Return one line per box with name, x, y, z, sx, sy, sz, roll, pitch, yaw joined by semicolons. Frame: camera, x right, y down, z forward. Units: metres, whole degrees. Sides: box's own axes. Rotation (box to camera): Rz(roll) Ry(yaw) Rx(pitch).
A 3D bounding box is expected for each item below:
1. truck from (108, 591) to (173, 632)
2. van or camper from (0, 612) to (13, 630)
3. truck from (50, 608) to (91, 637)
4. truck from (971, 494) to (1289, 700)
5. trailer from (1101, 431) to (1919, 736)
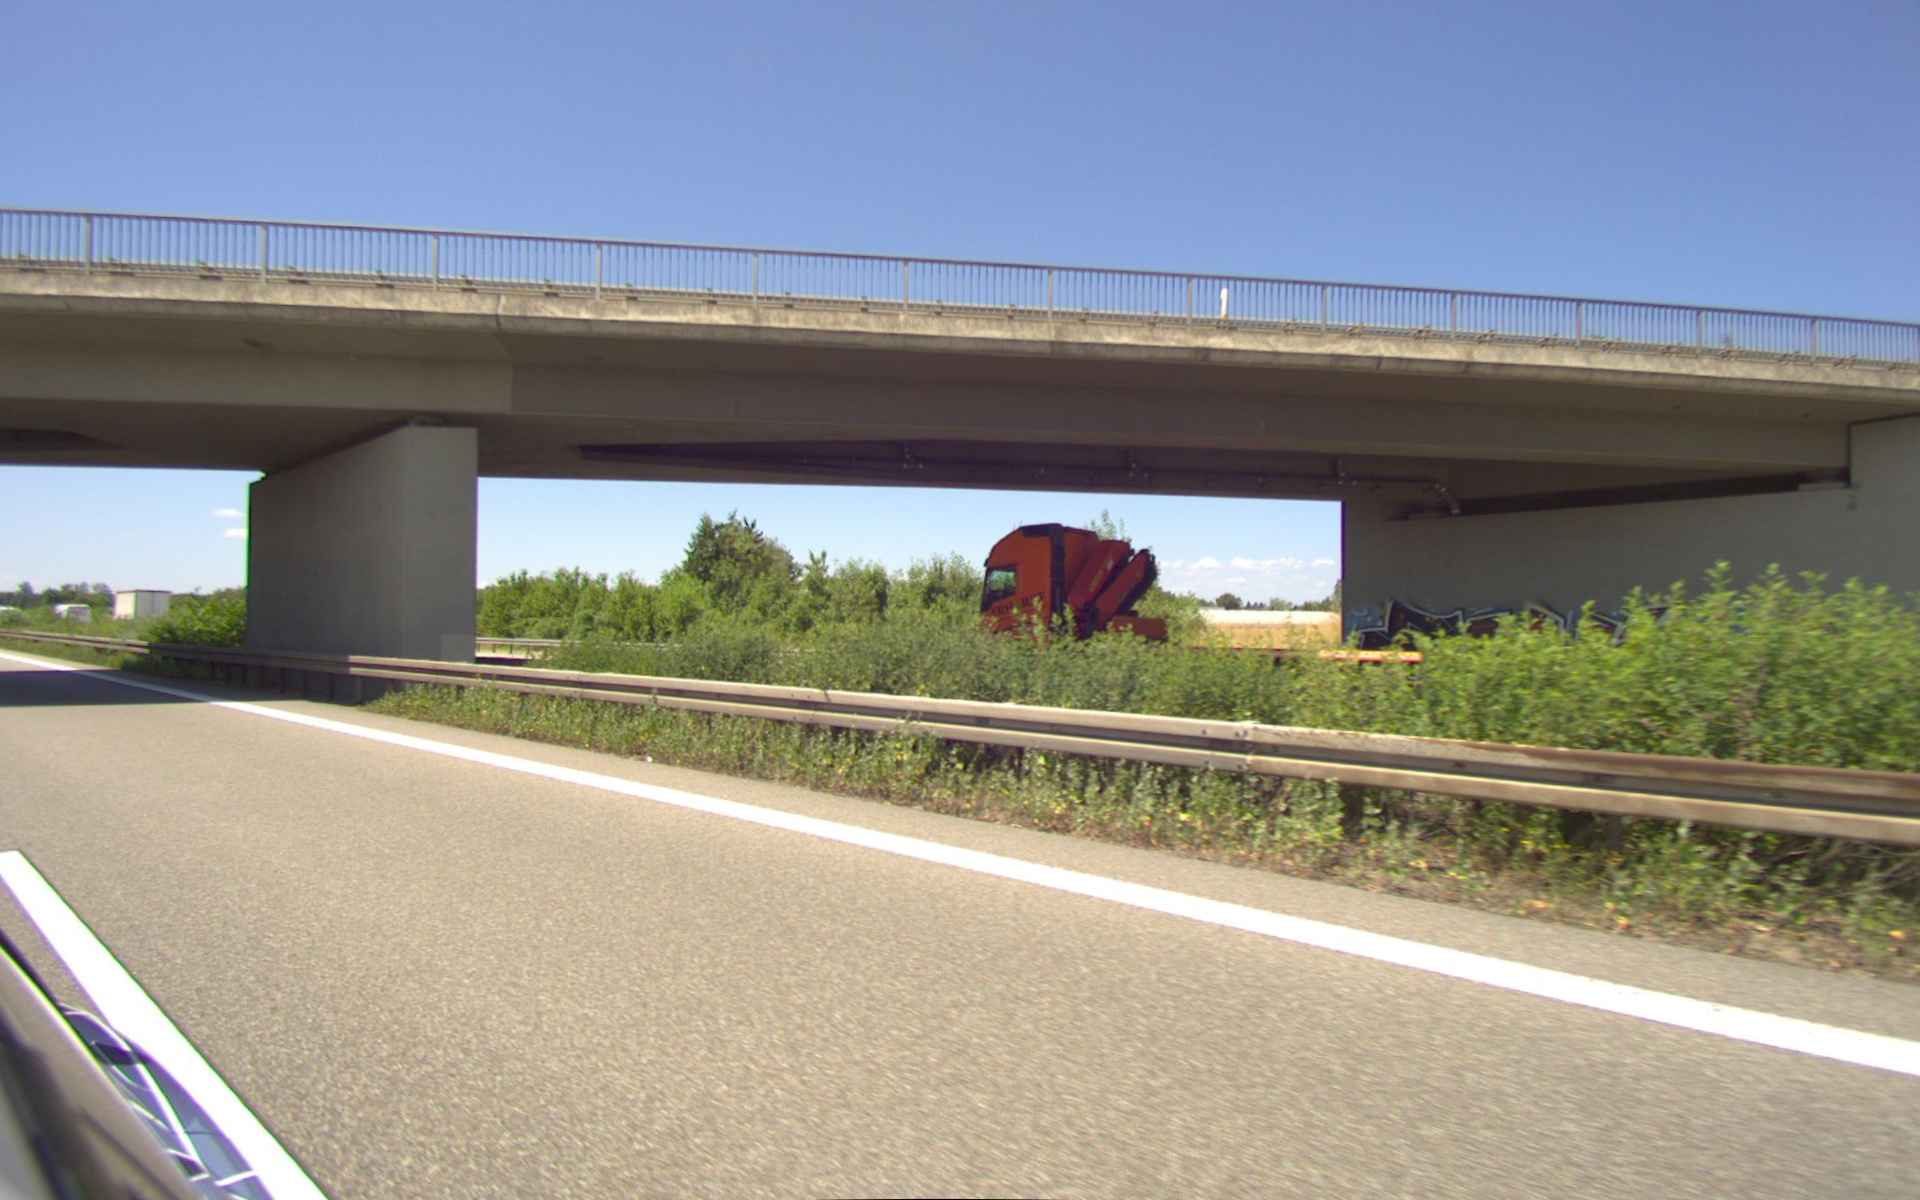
truck;-74.337;1.048;91.701;10.730;3.524;2.847;-1;0;41
van or camper;-143.479;3.166;151.406;6.295;2.564;1.973;-1;0;41
truck;-77.657;1.965;88.293;6.418;2.417;1.972;-1;0;42
truck;3.572;-0.024;22.335;6.496;3.927;2.585;-1;0;41
trailer;9.686;-0.152;17.010;15.573;3.913;2.585;-1;0;41
